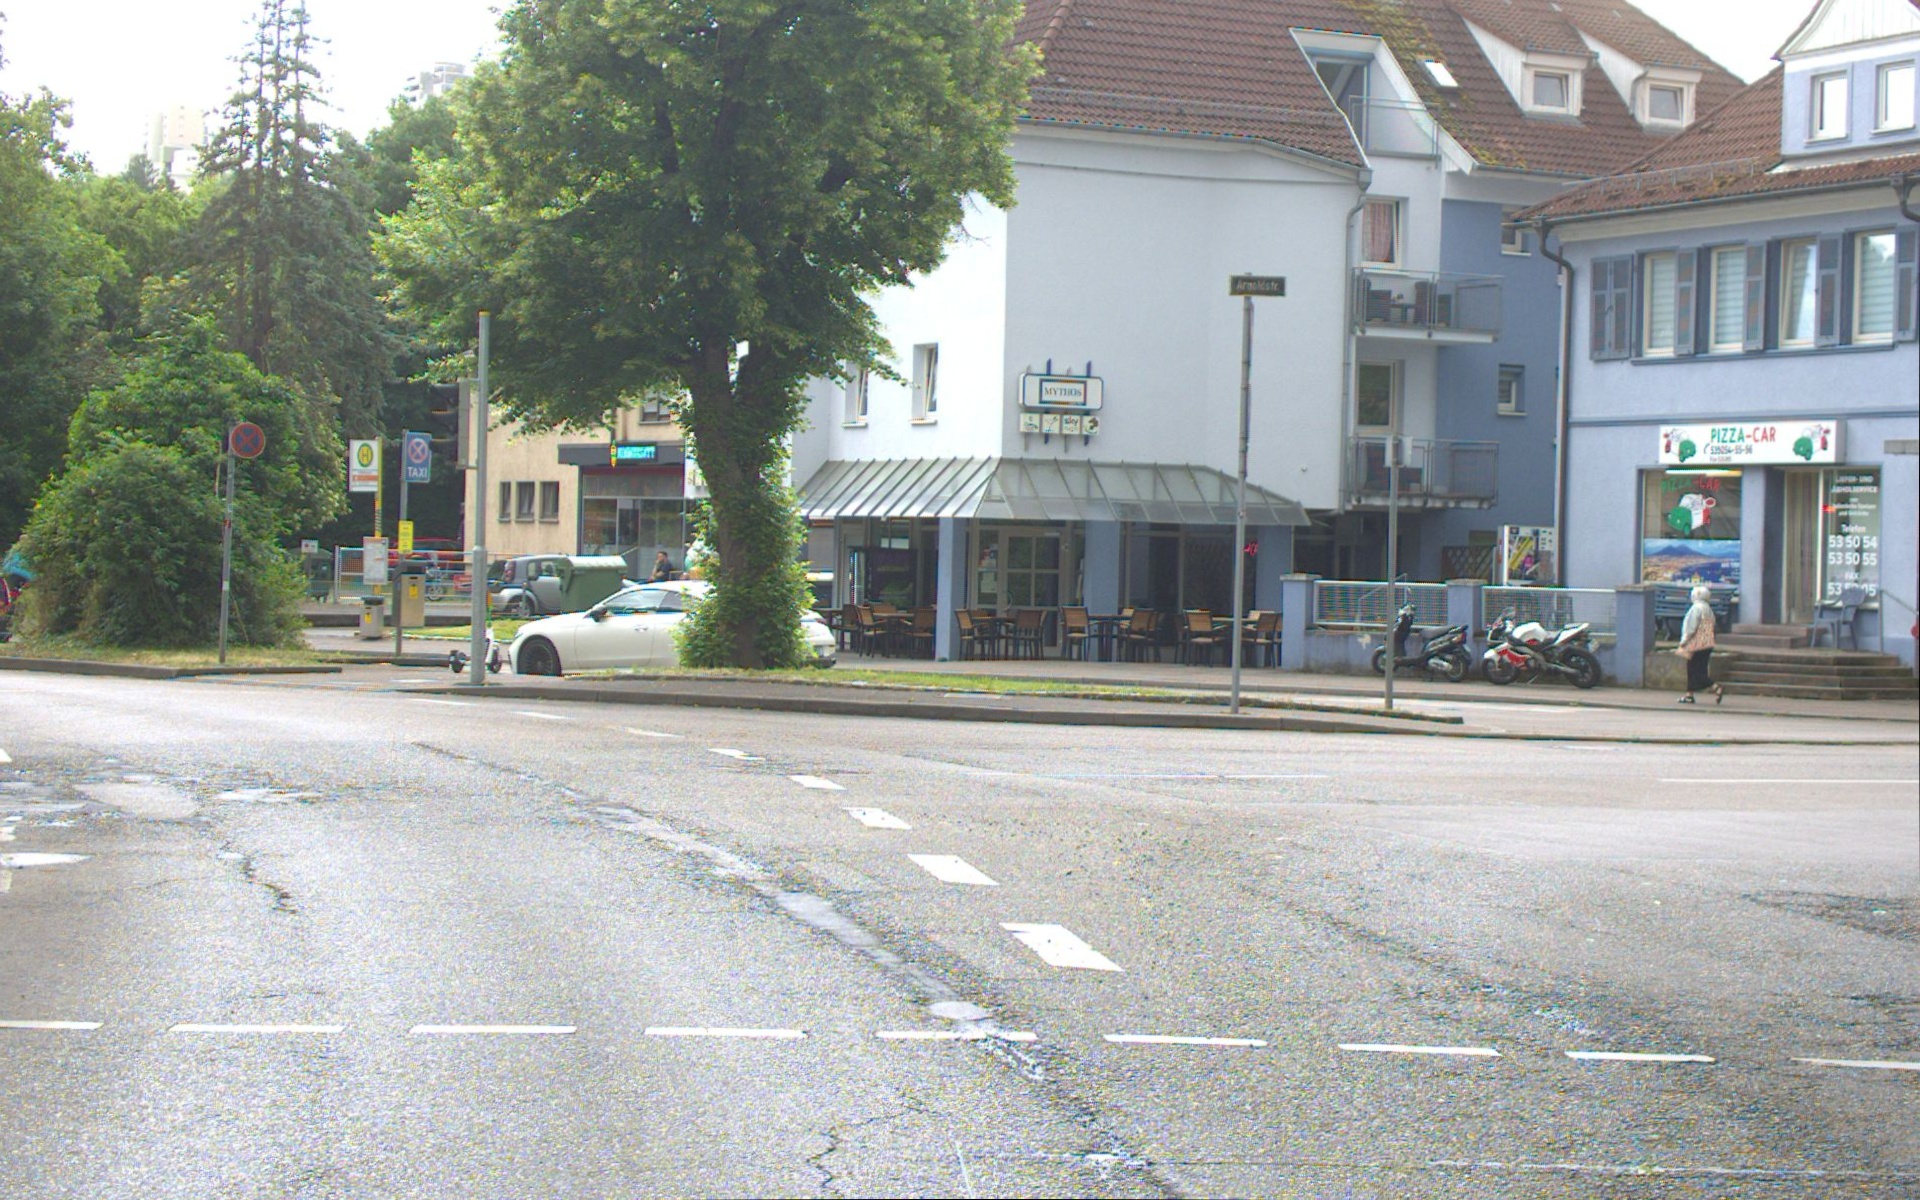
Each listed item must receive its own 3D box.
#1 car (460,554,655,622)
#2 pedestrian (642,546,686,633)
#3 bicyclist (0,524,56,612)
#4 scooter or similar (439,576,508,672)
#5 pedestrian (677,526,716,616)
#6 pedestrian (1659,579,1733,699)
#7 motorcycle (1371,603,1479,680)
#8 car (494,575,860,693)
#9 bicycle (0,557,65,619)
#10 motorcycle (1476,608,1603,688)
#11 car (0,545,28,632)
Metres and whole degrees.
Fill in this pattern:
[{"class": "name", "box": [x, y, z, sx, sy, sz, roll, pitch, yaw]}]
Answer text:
[{"class": "car", "box": [-8.855, -0.263, 75.626, 3.936, 1.437, 1.753, 1, 1, -20]}, {"class": "pedestrian", "box": [-6.954, -0.249, 80.713, 0.837, 2.007, 1.056, 1, 1, -14]}, {"class": "bicyclist", "box": [-17.858, -0.606, 65.501, 0.915, 1.646, 0.988, 1, 1, 7]}, {"class": "scooter or similar", "box": [-6.025, 0.287, 42.613, 0.442, 1.171, 1.437, 1, 1, 9]}, {"class": "pedestrian", "box": [-4.545, -0.498, 59.218, 0.543, 1.554, 0.467, 0, 0, 13]}, {"class": "pedestrian", "box": [9.701, 0.514, 45.294, 0.732, 1.554, 0.767, 1, 0, 31]}, {"class": "motorcycle", "box": [6.777, 0.596, 50.131, 1.458, 1.085, 0.523, 1, 1, 35]}, {"class": "car", "box": [-3.800, 0.425, 45.758, 4.709, 1.405, 1.898, 2, 1, 35]}, {"class": "bicycle", "box": [-17.844, -0.234, 65.501, 0.874, 1.145, 1.952, 1, 1, 7]}, {"class": "motorcycle", "box": [8.153, 0.667, 48.362, 1.628, 1.085, 0.626, 1, 1, 32]}, {"class": "car", "box": [-16.416, -0.212, 53.517, 3.322, 1.347, 1.778, 1, 1, 27]}]
